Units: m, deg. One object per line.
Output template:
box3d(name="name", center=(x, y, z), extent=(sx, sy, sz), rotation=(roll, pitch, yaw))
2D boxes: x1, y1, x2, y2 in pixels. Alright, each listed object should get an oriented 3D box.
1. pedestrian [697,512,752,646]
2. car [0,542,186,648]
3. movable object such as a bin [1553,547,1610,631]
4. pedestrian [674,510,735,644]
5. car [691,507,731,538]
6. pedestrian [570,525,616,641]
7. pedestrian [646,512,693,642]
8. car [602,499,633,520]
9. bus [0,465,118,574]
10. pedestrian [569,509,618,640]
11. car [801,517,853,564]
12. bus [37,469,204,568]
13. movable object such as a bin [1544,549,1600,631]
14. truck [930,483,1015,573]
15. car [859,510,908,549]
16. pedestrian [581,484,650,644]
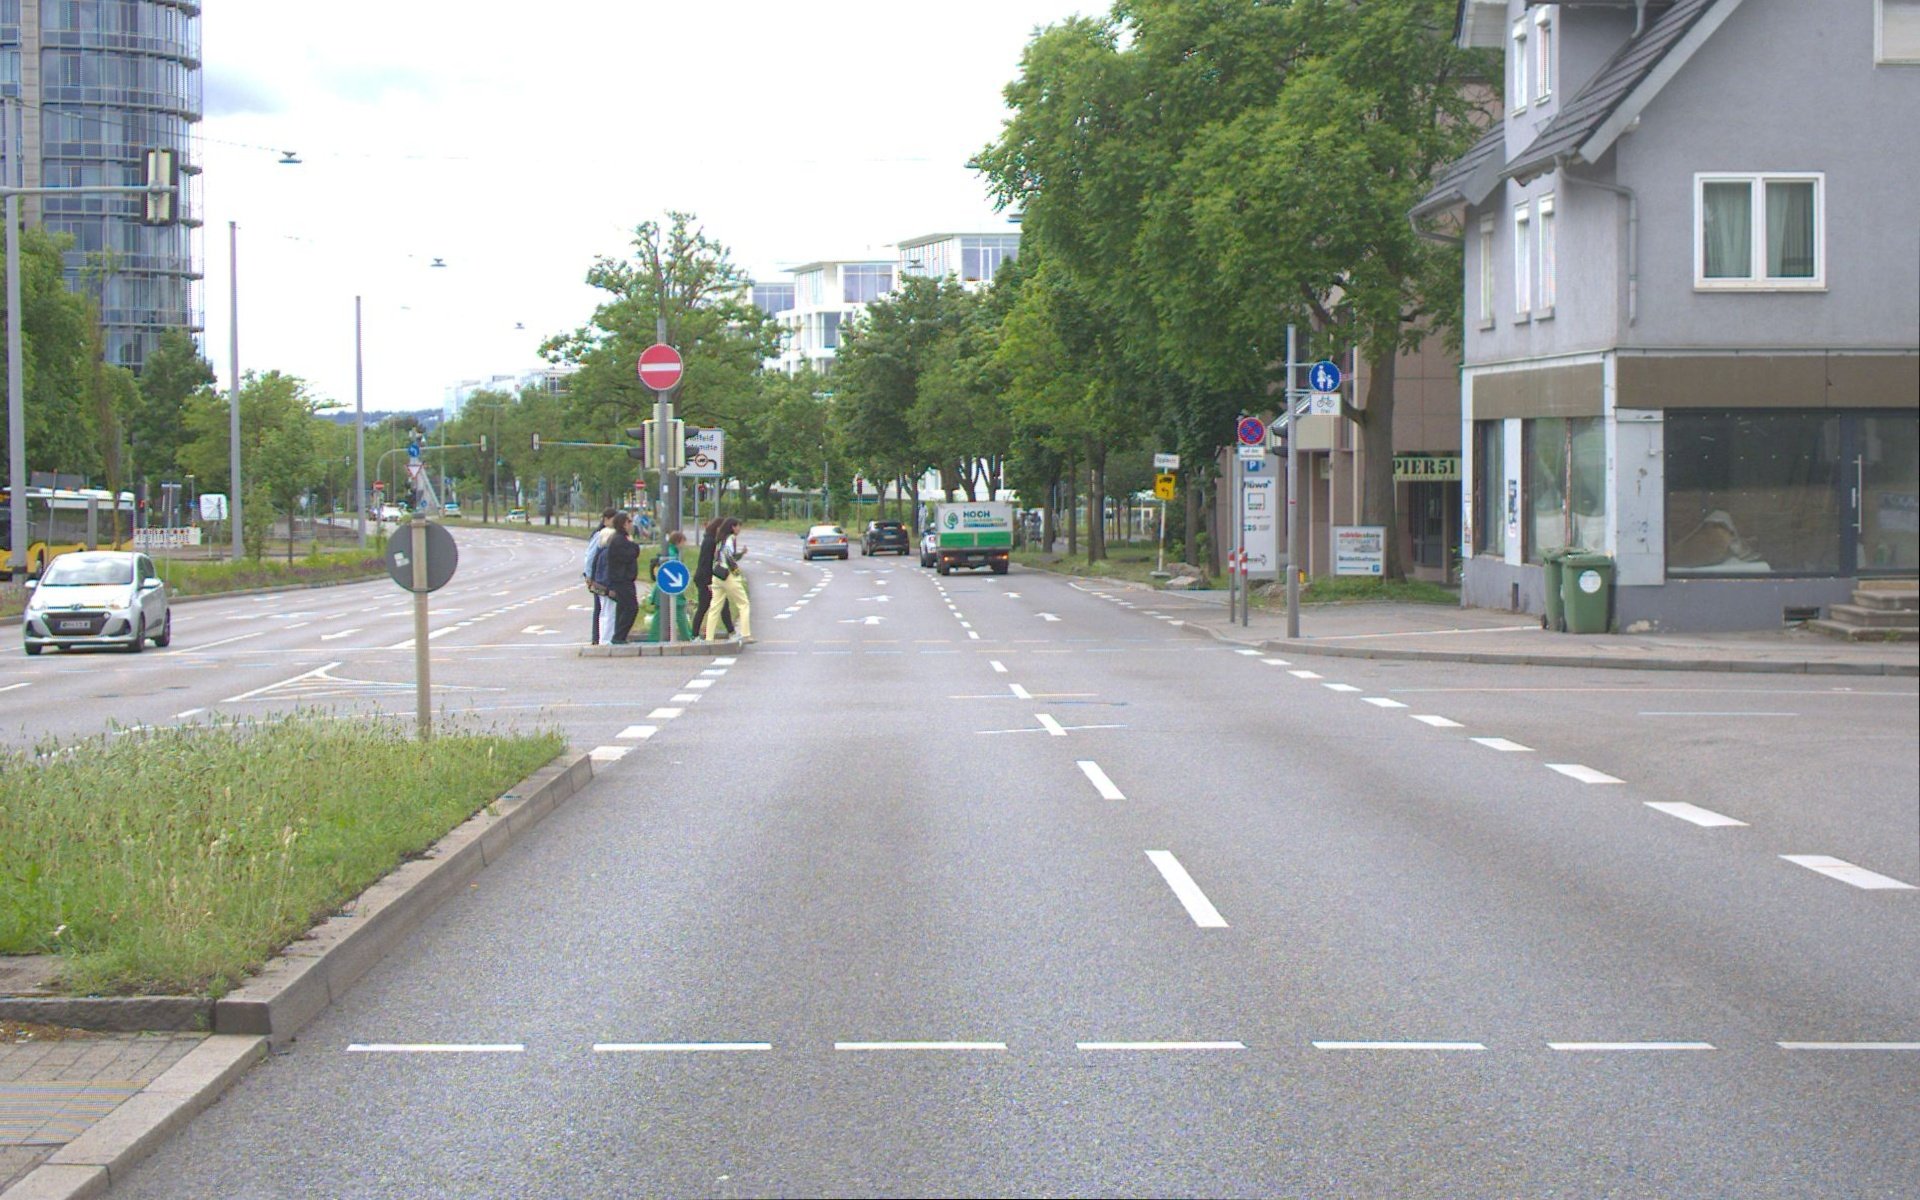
box3d(name="pedestrian", center=(-3.016, -0.271, 44.015), extent=(0.653, 1.710, 0.452), rotation=(-1, 1, -7))
box3d(name="car", center=(-12.861, -0.107, 50.947), extent=(1.993, 1.481, 4.000), rotation=(-1, 1, -2))
box3d(name="movable object such as a bin", center=(7.940, -0.147, 43.911), extent=(0.604, 1.056, 0.589), rotation=(1, 1, 1))
box3d(name="pedestrian", center=(-3.311, -0.301, 44.516), extent=(0.745, 1.710, 0.583), rotation=(-1, 1, -7))
box3d(name="car", center=(-12.766, -3.973, 176.153), extent=(1.993, 1.514, 4.001), rotation=(-1, 1, -4))
box3d(name="pedestrian", center=(-4.732, -0.222, 44.301), extent=(0.543, 1.491, 0.487), rotation=(-1, 1, -9))
box3d(name="pedestrian", center=(-3.856, -0.314, 45.666), extent=(0.583, 1.710, 0.546), rotation=(-1, 1, -7))
box3d(name="car", center=(-25.425, -6.696, 254.942), extent=(1.993, 1.546, 4.001), rotation=(-1, 1, -9))
box3d(name="bus", center=(-30.976, -2.628, 114.092), extent=(2.832, 3.419, 10.732), rotation=(-1, 1, 3))
box3d(name="pedestrian", center=(-4.830, -0.340, 45.256), extent=(0.612, 1.710, 0.546), rotation=(-1, 1, -7))
box3d(name="car", center=(-5.311, -2.390, 138.007), extent=(1.993, 1.824, 4.000), rotation=(0, 1, -1))
box3d(name="bus", center=(-30.362, -2.923, 124.831), extent=(2.832, 3.419, 10.732), rotation=(-1, 1, 3))
box3d(name="movable object such as a bin", center=(7.912, -0.129, 44.470), extent=(0.616, 1.039, 0.589), rotation=(1, 1, 1))
box3d(name="truck", center=(0.373, -2.238, 105.036), extent=(2.471, 2.602, 6.548), rotation=(1, 2, 0))
box3d(name="car", center=(-3.206, -2.964, 144.521), extent=(1.993, 1.546, 4.000), rotation=(1, 1, -1))
box3d(name="pedestrian", center=(-4.389, -0.461, 43.747), extent=(0.829, 2.007, 0.546), rotation=(-1, 1, -7))
